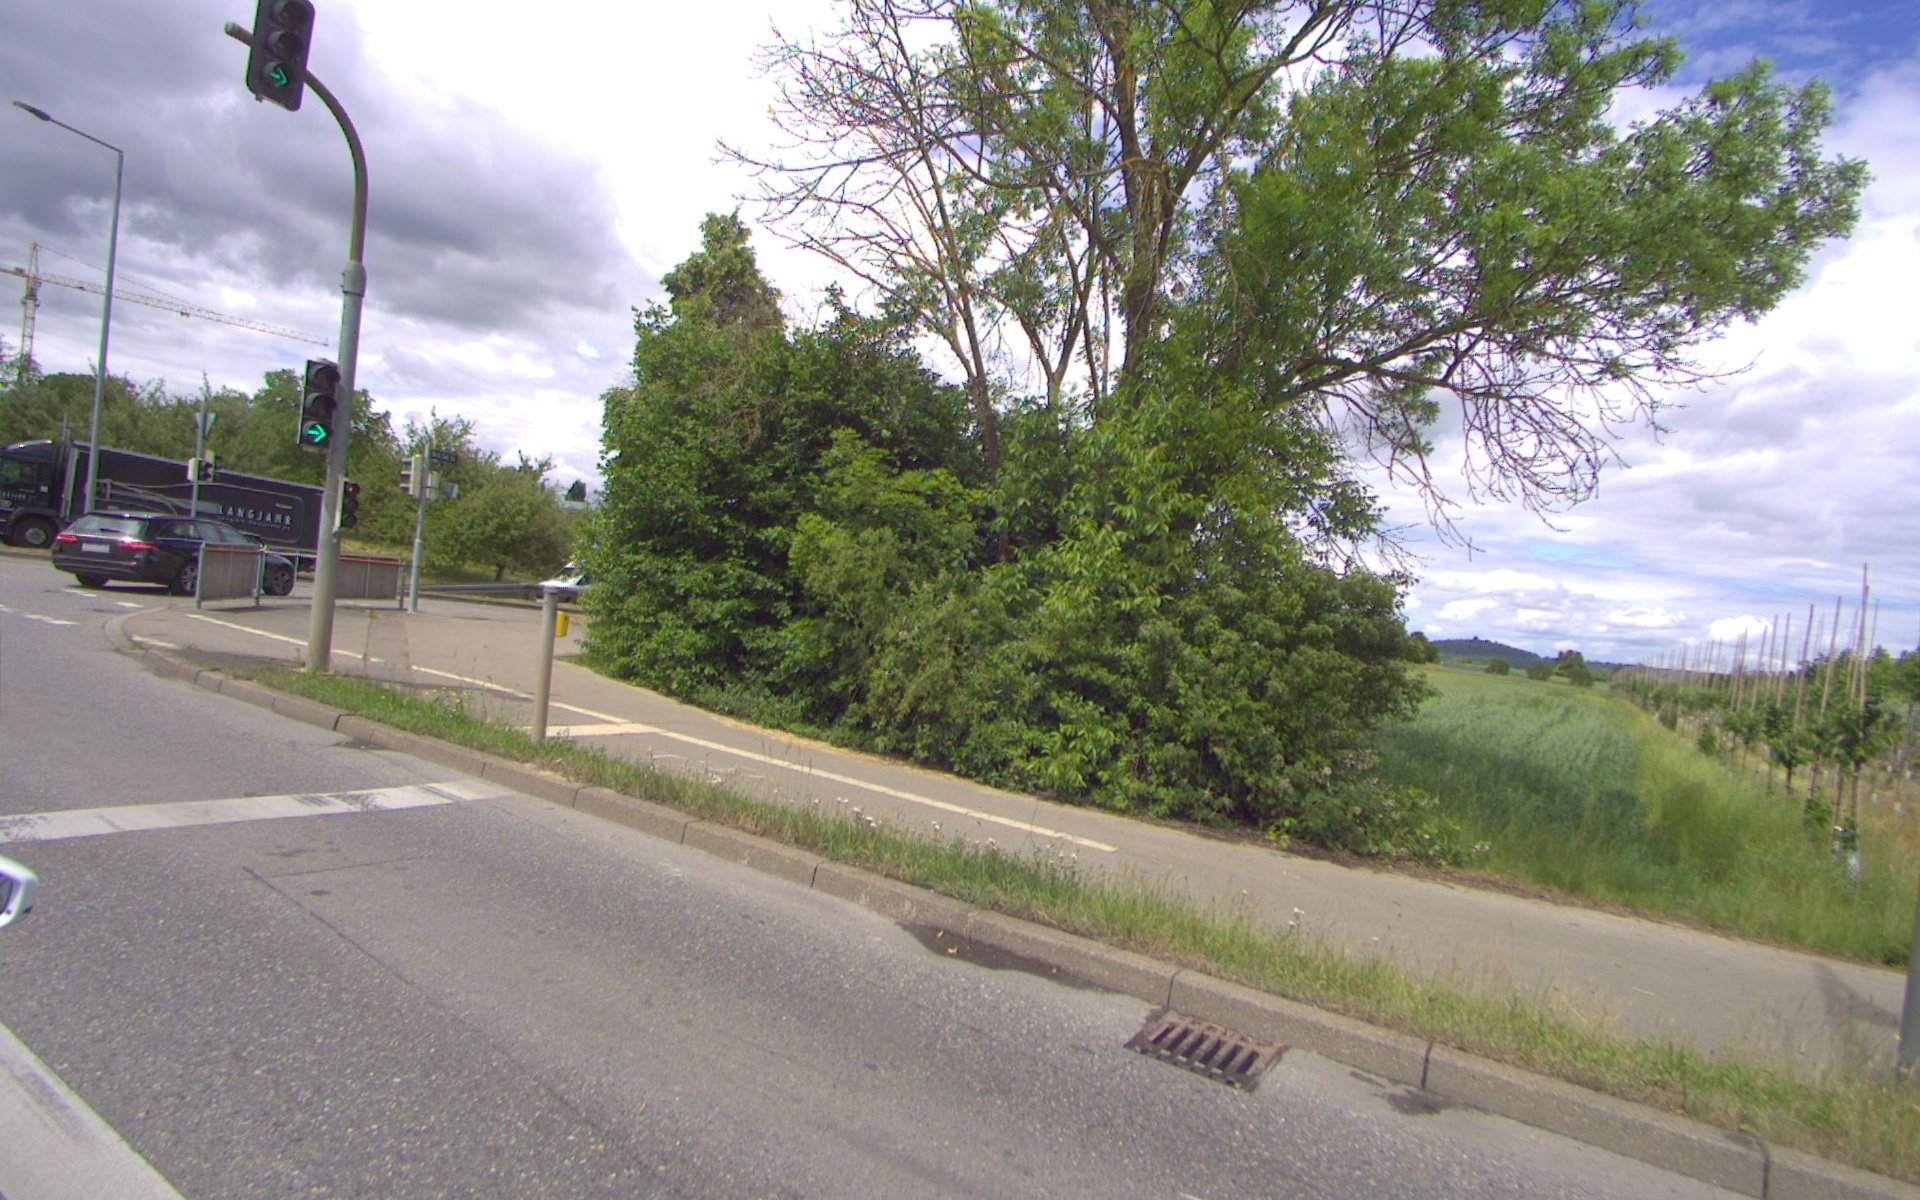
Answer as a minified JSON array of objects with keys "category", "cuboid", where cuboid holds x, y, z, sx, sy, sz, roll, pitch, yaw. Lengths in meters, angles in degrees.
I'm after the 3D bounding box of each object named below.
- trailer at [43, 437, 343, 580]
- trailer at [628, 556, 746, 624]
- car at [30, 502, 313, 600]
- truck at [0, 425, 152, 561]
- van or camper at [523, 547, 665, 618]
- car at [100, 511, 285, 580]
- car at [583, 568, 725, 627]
[{"category":"trailer","cuboid":[-25.634,-2.922,34.094,1.969,3.500,7.588,7,-1,36]},{"category":"trailer","cuboid":[-13.972,-0.446,51.877,2.209,2.841,5.776,7,0,30]},{"category":"car","cuboid":[-15.156,-0.881,19.812,1.846,1.459,5.192,7,0,-7]},{"category":"truck","cuboid":[-27.847,-3.273,30.955,1.969,3.511,3.988,7,0,36]},{"category":"van or camper","cuboid":[-16.875,-0.752,46.776,2.211,2.563,5.928,7,-1,30]},{"category":"car","cuboid":[-23.299,-1.617,30.666,1.969,1.437,3.989,7,-1,36]},{"category":"car","cuboid":[-10.027,-0.028,33.330,1.836,1.537,4.440,7,0,27]}]
